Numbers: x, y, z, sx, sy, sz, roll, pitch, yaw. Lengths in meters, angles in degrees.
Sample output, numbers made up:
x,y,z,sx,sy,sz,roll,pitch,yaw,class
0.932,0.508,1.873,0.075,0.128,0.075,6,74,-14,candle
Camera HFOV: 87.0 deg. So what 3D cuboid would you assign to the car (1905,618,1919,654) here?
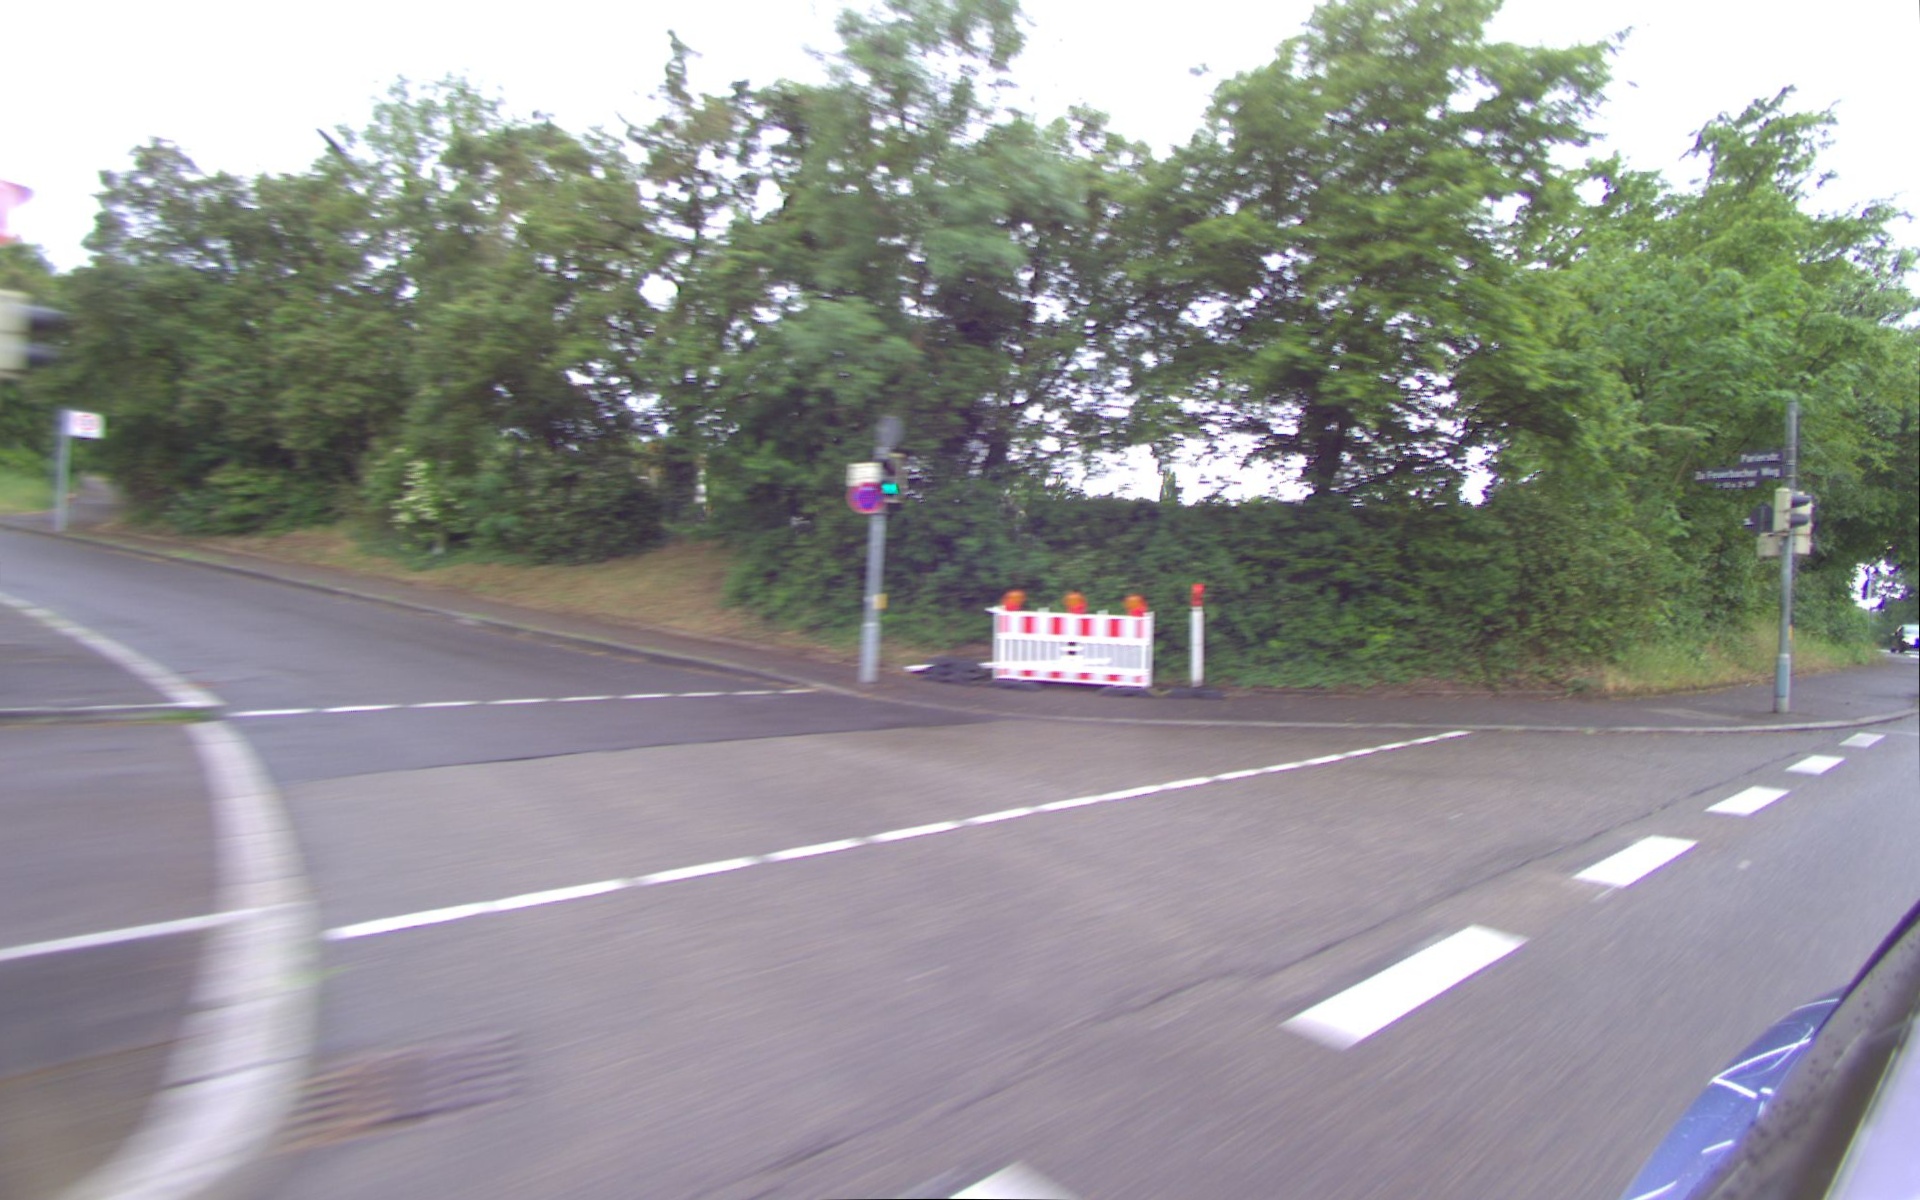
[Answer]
x,y,z,sx,sy,sz,roll,pitch,yaw,class
48.079,1.873,49.923,1.994,1.605,3.937,6,1,43,car
